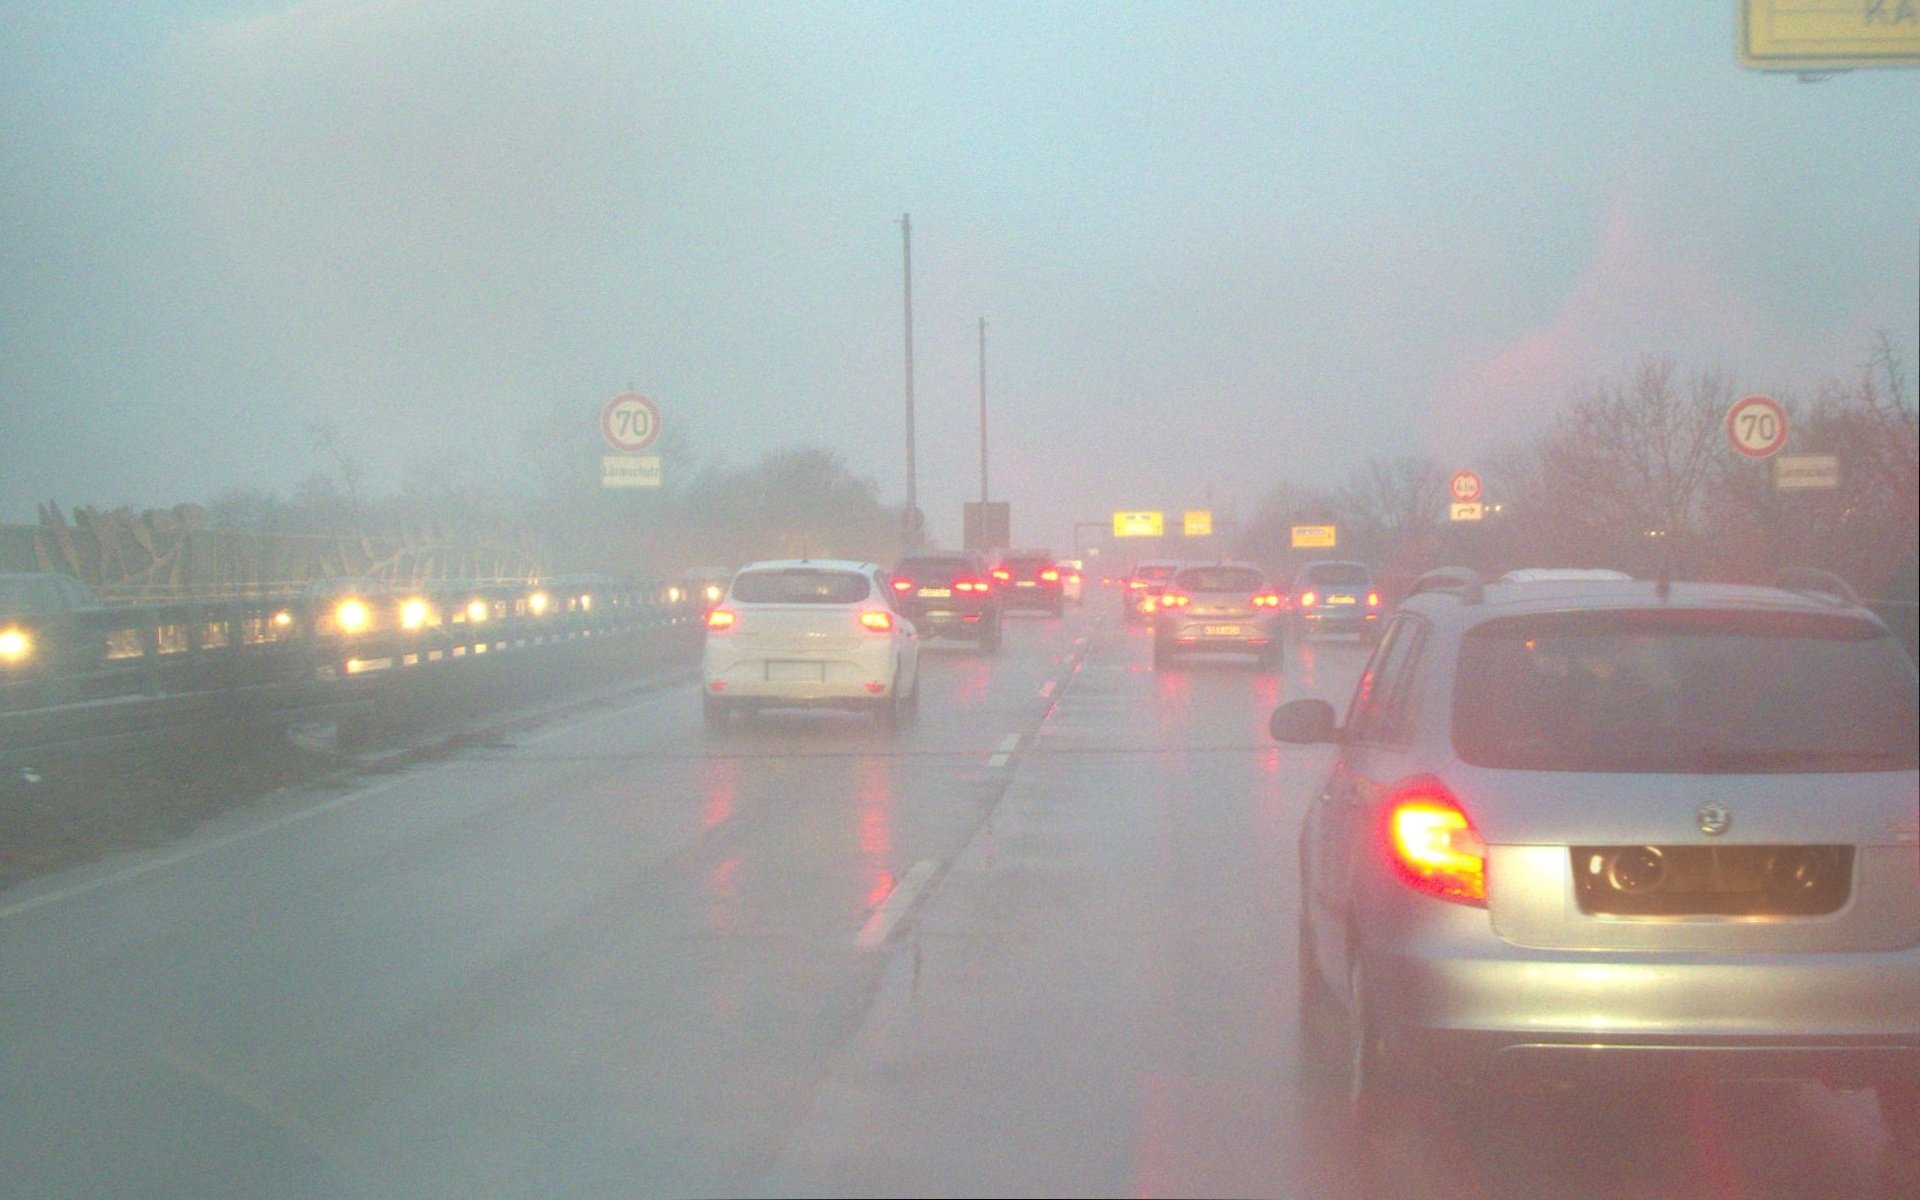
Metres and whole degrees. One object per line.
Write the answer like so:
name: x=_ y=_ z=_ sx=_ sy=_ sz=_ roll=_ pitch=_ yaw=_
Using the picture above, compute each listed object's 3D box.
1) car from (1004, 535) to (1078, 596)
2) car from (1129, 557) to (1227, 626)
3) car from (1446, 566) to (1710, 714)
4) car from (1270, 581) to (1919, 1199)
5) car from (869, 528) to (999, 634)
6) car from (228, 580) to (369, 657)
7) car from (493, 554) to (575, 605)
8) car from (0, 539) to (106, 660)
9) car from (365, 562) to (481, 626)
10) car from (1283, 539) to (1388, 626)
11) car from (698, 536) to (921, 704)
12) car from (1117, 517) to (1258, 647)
car: x=2.150 y=-0.923 z=90.374 sx=1.789 sy=1.540 sz=4.000 roll=1 pitch=1 yaw=3
car: x=5.070 y=-0.225 z=80.365 sx=1.789 sy=1.540 sz=4.001 roll=0 pitch=1 yaw=-4
car: x=6.008 y=0.351 z=33.868 sx=1.993 sy=1.341 sz=4.000 roll=0 pitch=1 yaw=2
car: x=2.015 y=0.709 z=10.282 sx=1.994 sy=1.495 sz=4.137 roll=-1 pitch=1 yaw=3
car: x=-0.458 y=-0.324 z=55.411 sx=1.993 sy=1.596 sz=4.309 roll=1 pitch=1 yaw=-1
car: x=-13.451 y=0.350 z=70.136 sx=1.894 sy=1.459 sz=4.460 roll=-1 pitch=1 yaw=1
car: x=-12.716 y=-0.620 z=102.784 sx=1.894 sy=1.459 sz=4.000 roll=-1 pitch=1 yaw=1
car: x=-13.111 y=-0.046 z=46.654 sx=1.786 sy=1.559 sz=4.851 roll=0 pitch=1 yaw=1
car: x=-12.930 y=-0.177 z=83.060 sx=1.894 sy=1.459 sz=4.830 roll=-1 pitch=1 yaw=1
car: x=6.950 y=-0.345 z=63.294 sx=1.790 sy=1.540 sz=3.999 roll=-1 pitch=1 yaw=8
car: x=-1.325 y=0.137 z=31.892 sx=1.724 sy=1.435 sz=4.226 roll=1 pitch=1 yaw=2
car: x=3.237 y=-0.282 z=49.172 sx=1.897 sy=1.761 sz=4.308 roll=1 pitch=1 yaw=3
